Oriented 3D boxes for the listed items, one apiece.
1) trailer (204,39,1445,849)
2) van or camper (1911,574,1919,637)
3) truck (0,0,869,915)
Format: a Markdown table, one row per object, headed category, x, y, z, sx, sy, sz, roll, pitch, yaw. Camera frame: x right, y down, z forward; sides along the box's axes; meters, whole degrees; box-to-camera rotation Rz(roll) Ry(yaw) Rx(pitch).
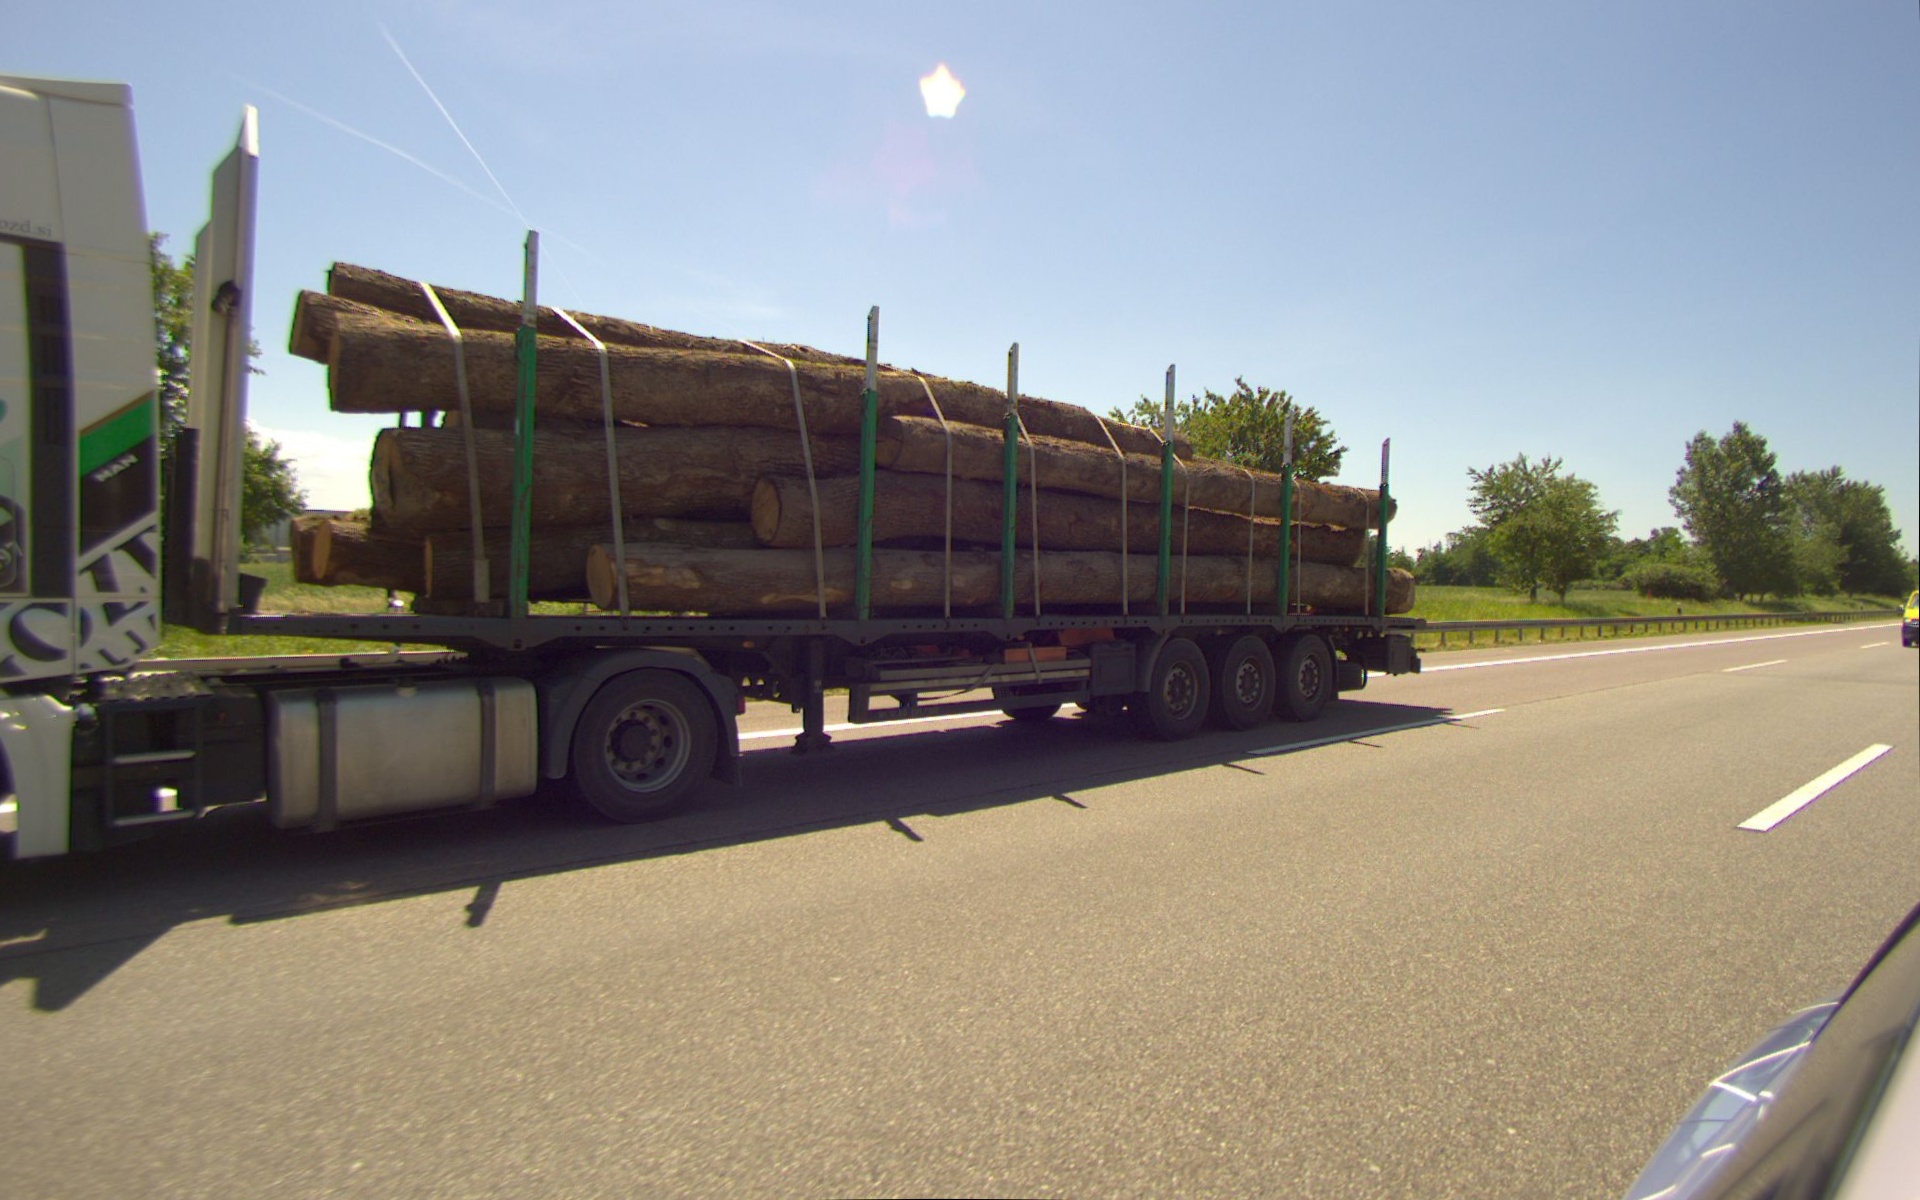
| category | x | y | z | sx | sy | sz | roll | pitch | yaw |
| --- | --- | --- | --- | --- | --- | --- | --- | --- | --- |
| trailer | 0.679 | -0.777 | 10.413 | 13.396 | 4.008 | 2.658 | 0 | 0 | -41 |
| van or camper | 33.784 | 0.210 | 34.005 | 5.780 | 2.029 | 2.062 | 0 | 1 | -41 |
| truck | -4.011 | -0.660 | 6.339 | 6.519 | 4.045 | 2.674 | 0 | 0 | -41 |
